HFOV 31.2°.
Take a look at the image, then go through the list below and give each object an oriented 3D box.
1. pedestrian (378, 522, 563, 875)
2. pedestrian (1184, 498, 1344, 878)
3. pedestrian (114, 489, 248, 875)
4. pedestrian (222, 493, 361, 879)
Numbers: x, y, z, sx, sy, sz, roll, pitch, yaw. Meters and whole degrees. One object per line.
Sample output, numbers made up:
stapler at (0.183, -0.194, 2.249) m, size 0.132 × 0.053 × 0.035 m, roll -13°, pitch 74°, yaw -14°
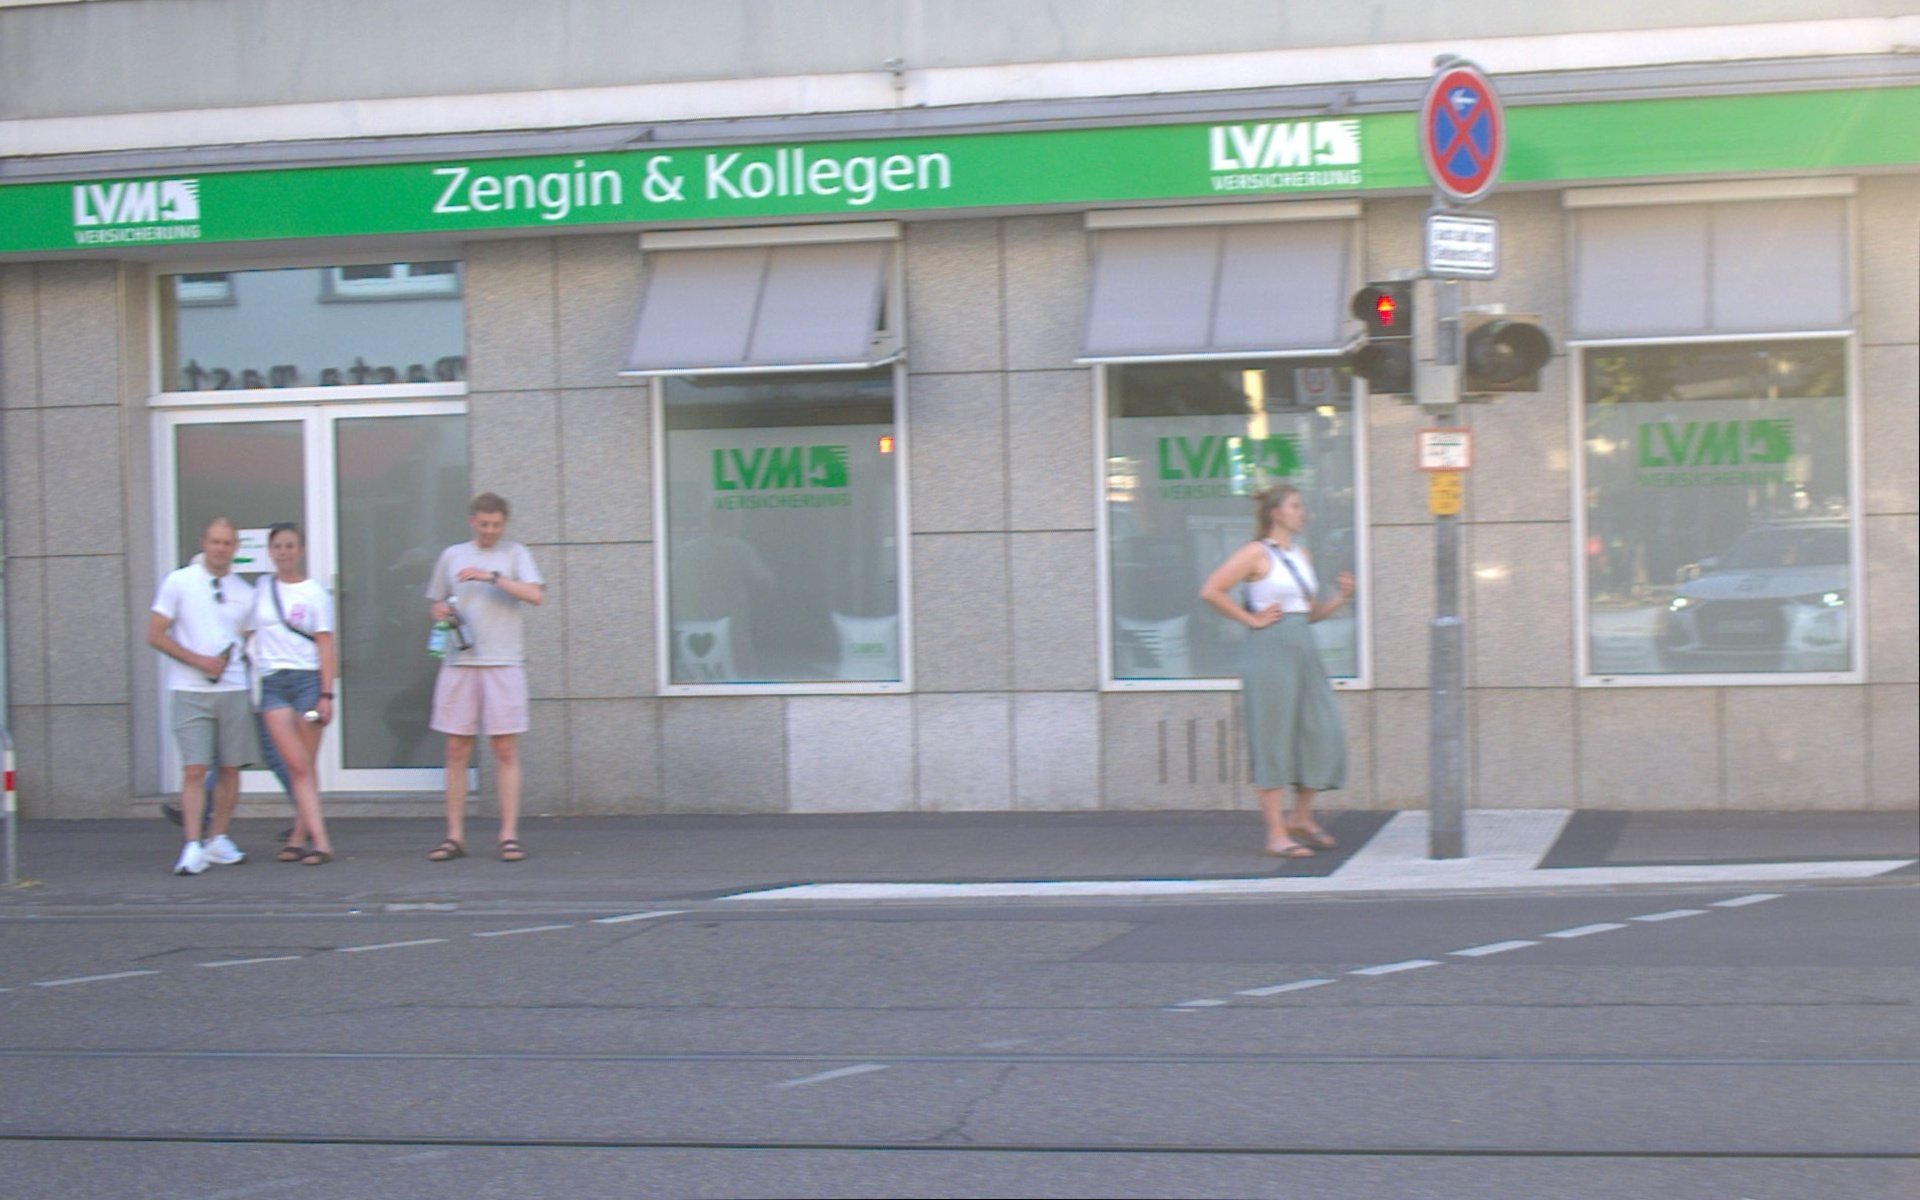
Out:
pedestrian at (-2.460, 0.485, 17.319) m, size 0.697 × 1.739 × 0.639 m, roll -1°, pitch 1°, yaw 16°
pedestrian at (1.462, 0.410, 16.458) m, size 0.646 × 1.772 × 0.672 m, roll -1°, pitch 1°, yaw 14°
pedestrian at (-3.952, 0.407, 17.466) m, size 0.494 × 1.922 × 0.576 m, roll -1°, pitch 1°, yaw 3°
pedestrian at (-3.398, 0.425, 17.505) m, size 0.528 × 1.922 × 0.640 m, roll -1°, pitch 1°, yaw 2°
